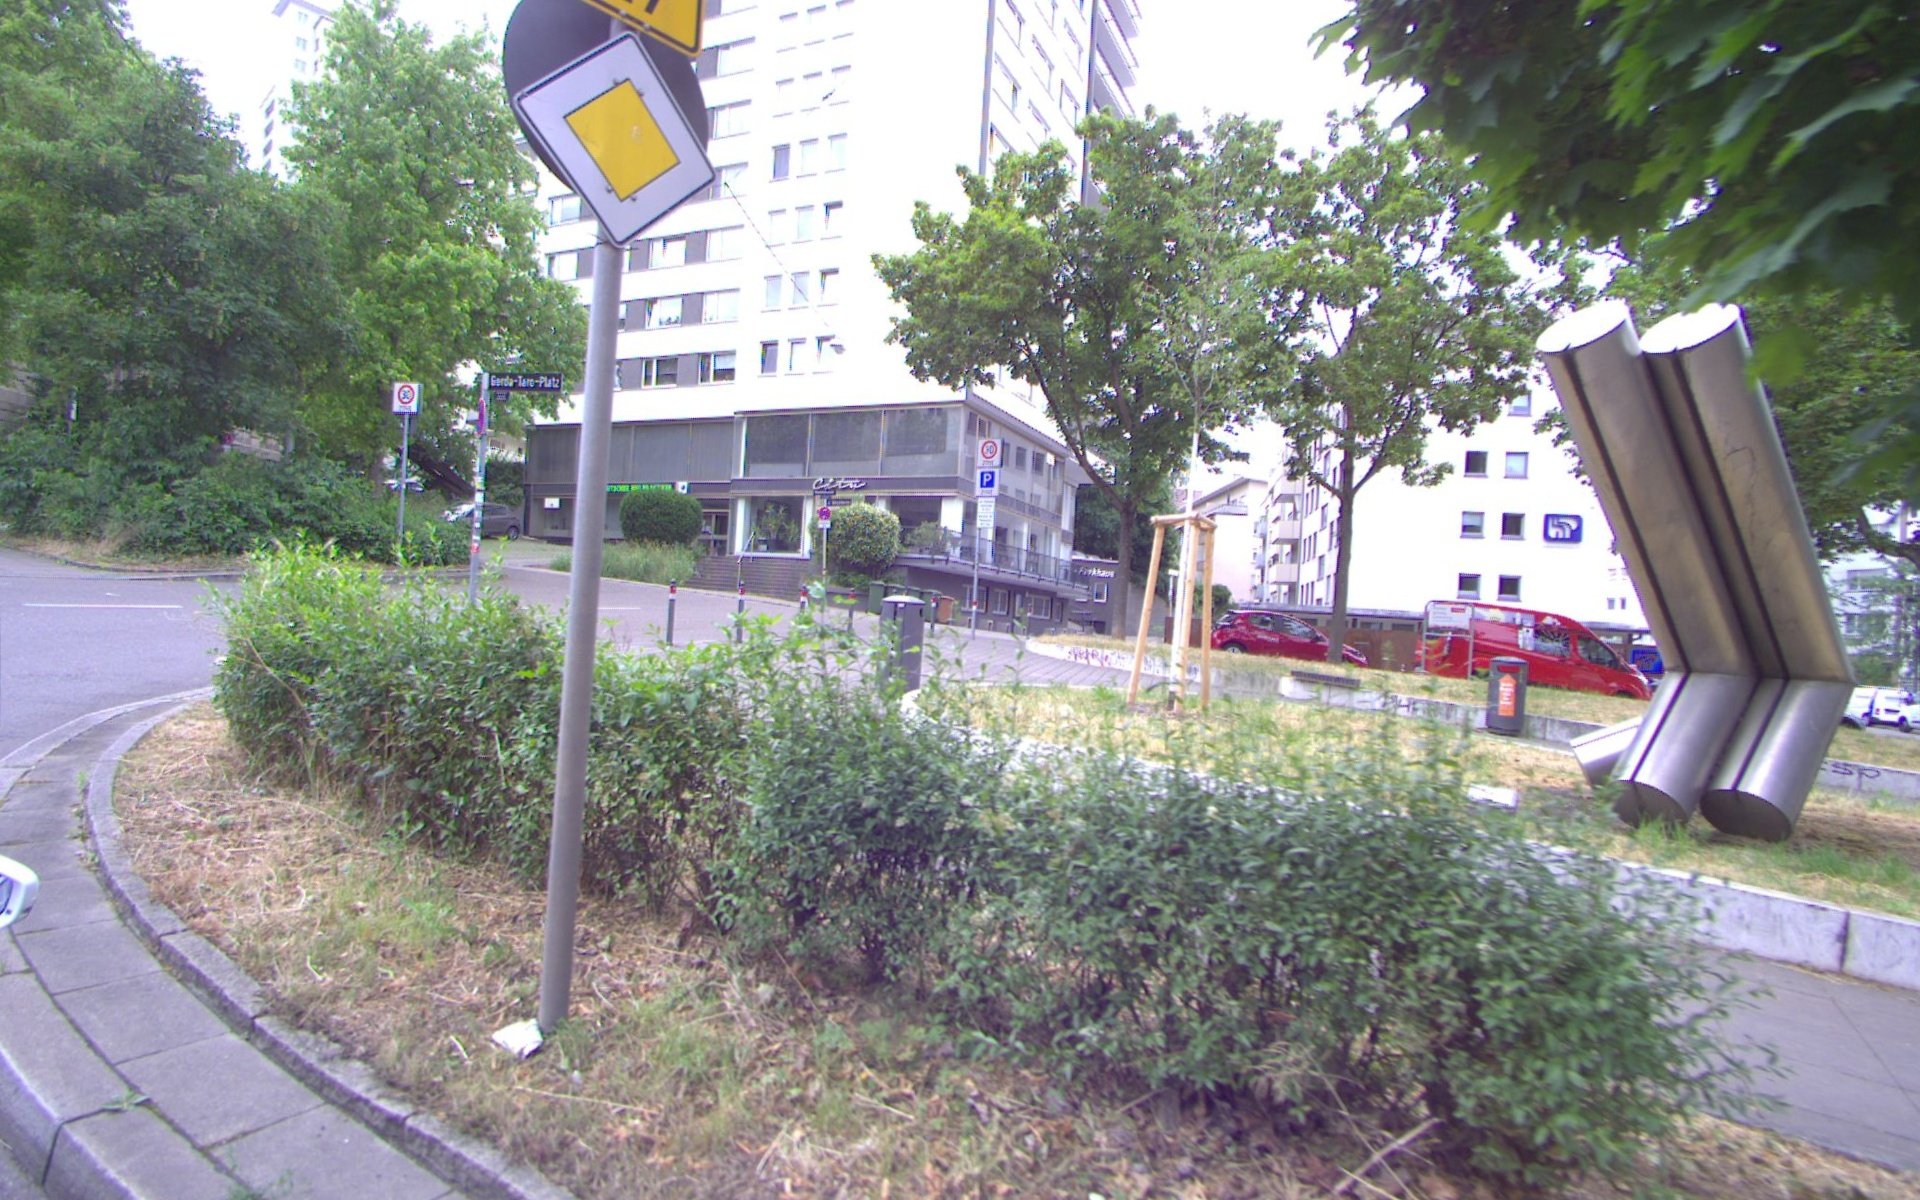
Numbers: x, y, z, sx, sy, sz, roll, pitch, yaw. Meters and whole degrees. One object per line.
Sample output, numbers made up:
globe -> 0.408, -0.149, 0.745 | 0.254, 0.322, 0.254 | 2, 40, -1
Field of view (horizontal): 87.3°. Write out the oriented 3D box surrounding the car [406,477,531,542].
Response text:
car -> -19.989, -3.643, 41.086 | 1.964, 2.039, 4.139 | 7, 1, 24

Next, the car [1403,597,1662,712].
car -> 13.653, 1.306, 24.220 | 4.889, 2.050, 2.032 | 7, -3, 2

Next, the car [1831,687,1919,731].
car -> 43.389, 5.116, 47.671 | 1.589, 1.822, 3.672 | 5, -3, 15

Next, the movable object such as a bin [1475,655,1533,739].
movable object such as a bin -> 7.655, 1.370, 14.146 | 0.599, 1.094, 0.670 | 5, -3, 32

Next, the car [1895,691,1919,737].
car -> 41.501, 4.860, 41.918 | 1.963, 1.906, 4.470 | 5, -3, 19

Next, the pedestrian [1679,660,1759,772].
pedestrian -> 9.710, 1.470, 12.895 | 0.609, 1.318, 0.549 | 7, 2, 29

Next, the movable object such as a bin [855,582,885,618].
movable object such as a bin -> -2.975, 0.002, 33.290 | 0.700, 1.118, 0.824 | 7, 1, 8

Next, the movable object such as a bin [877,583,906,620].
movable object such as a bin -> -2.257, 0.052, 33.296 | 0.700, 1.118, 0.824 | 7, 1, 8

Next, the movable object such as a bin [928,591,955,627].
movable object such as a bin -> -0.612, 0.313, 33.565 | 0.668, 1.118, 0.824 | 7, 1, 8

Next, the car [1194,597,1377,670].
car -> 7.816, 0.837, 24.411 | 3.848, 1.293, 1.622 | 6, -3, 4

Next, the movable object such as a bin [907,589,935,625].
movable object such as a bin -> -1.310, 0.226, 33.731 | 0.700, 1.118, 0.824 | 7, 1, 8

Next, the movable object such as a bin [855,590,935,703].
movable object such as a bin -> -0.691, 0.491, 10.709 | 0.556, 1.108, 0.494 | 7, 2, 31

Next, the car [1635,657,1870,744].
car -> 18.693, 2.347, 23.869 | 4.071, 1.525, 1.755 | 6, -3, 2

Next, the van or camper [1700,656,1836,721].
van or camper -> 32.890, 3.640, 41.208 | 2.257, 2.255, 5.450 | 5, -3, 16

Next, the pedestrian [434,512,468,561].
pedestrian -> -16.677, -2.072, 32.983 | 0.665, 1.519, 0.559 | 7, 2, 5
